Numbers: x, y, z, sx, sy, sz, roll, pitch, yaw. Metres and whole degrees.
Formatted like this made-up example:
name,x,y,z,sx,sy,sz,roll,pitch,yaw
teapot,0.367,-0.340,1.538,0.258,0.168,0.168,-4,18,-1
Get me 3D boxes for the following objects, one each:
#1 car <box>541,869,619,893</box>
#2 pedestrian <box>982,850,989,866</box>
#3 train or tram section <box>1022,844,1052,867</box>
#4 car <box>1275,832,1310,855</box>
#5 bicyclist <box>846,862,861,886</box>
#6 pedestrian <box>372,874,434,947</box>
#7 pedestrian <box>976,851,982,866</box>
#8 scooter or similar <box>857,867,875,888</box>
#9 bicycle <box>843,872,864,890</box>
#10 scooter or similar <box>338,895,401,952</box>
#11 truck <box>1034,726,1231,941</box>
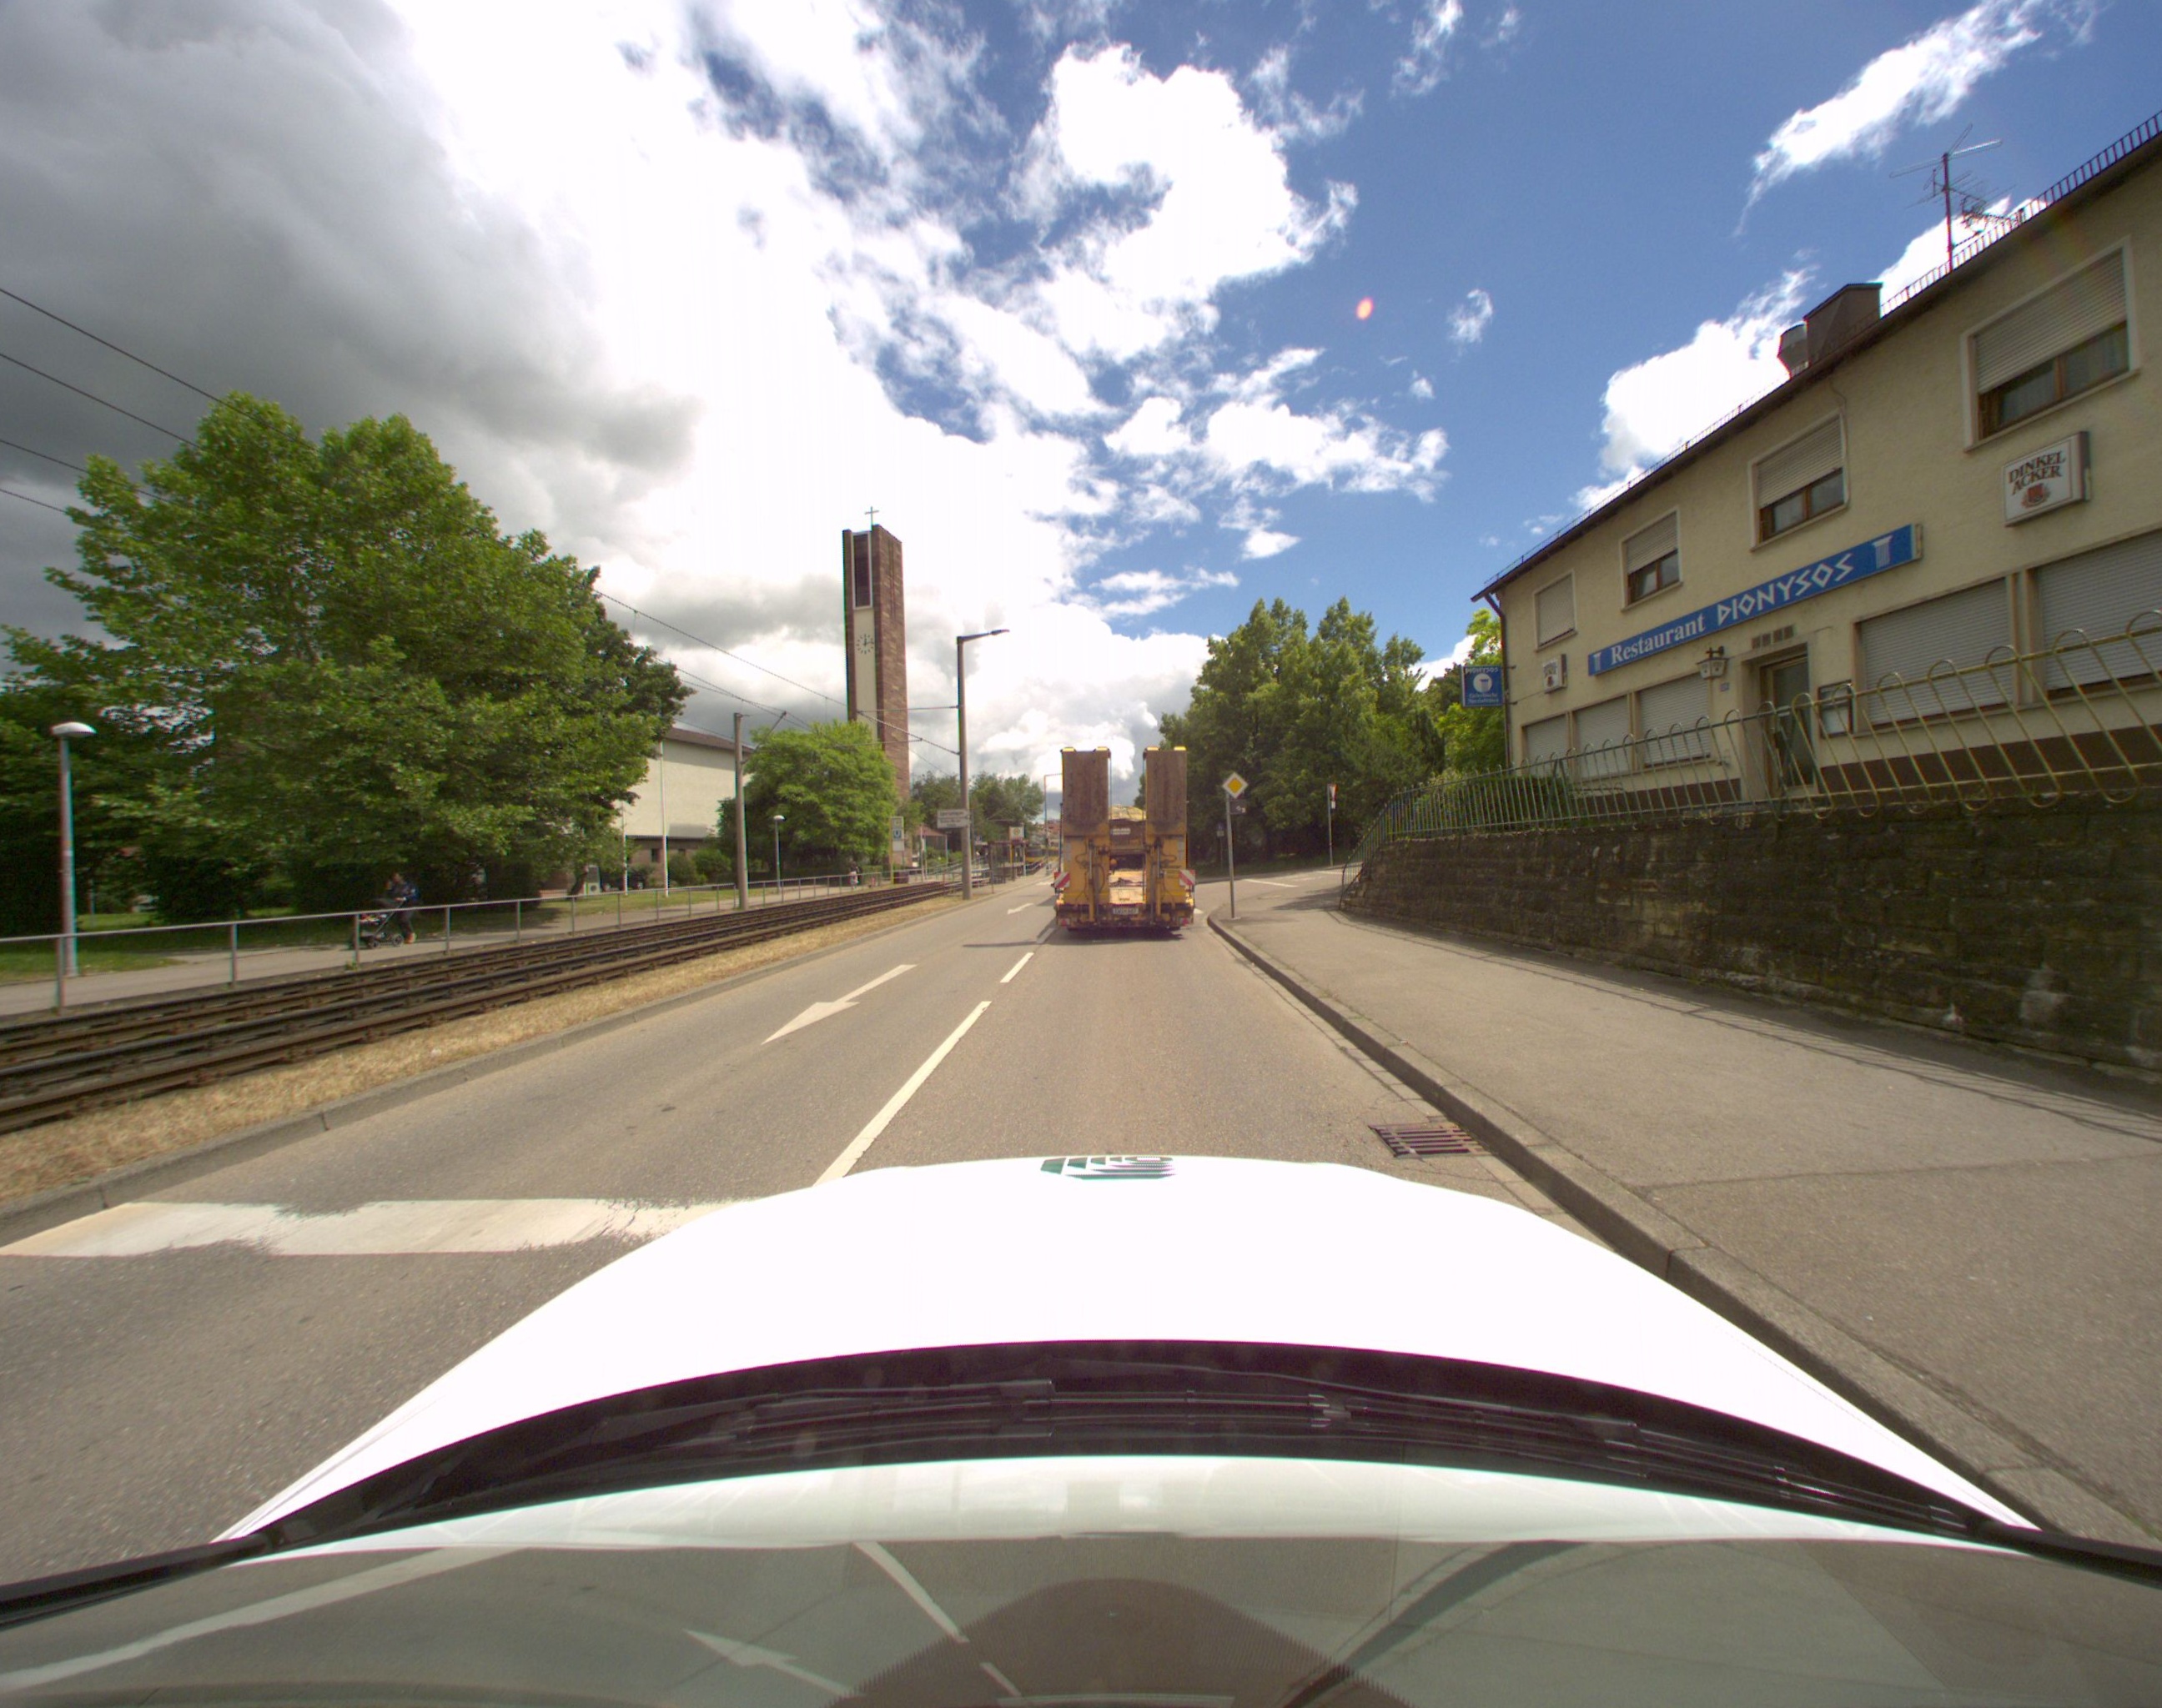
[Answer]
name,x,y,z,sx,sy,sz,roll,pitch,yaw
car,-35.965,1.896,58.611,1.977,1.574,4.499,0,-1,20
pedestrian,-11.395,0.481,97.420,0.709,2.014,0.732,0,-1,0
train or tram section,-6.937,0.304,130.738,3.096,3.465,18.834,0,0,2
car,15.426,-0.721,59.607,1.655,1.500,3.664,-5,-1,2
bicyclist,-13.515,1.165,48.327,0.631,1.429,0.791,0,-1,2
pedestrian,-15.065,1.236,18.117,0.611,1.540,0.874,-1,-1,0
pedestrian,-11.668,0.526,92.904,0.582,1.778,0.576,0,-1,2
scooter or similar,-13.073,1.422,49.644,0.647,1.237,1.402,0,0,3
bicycle,-13.531,1.602,48.496,0.635,0.994,1.929,0,-1,2
scooter or similar,-15.066,1.461,17.260,0.602,1.115,0.821,-1,-1,0
truck,0.906,-0.312,21.352,3.392,3.732,13.734,-2,0,0
